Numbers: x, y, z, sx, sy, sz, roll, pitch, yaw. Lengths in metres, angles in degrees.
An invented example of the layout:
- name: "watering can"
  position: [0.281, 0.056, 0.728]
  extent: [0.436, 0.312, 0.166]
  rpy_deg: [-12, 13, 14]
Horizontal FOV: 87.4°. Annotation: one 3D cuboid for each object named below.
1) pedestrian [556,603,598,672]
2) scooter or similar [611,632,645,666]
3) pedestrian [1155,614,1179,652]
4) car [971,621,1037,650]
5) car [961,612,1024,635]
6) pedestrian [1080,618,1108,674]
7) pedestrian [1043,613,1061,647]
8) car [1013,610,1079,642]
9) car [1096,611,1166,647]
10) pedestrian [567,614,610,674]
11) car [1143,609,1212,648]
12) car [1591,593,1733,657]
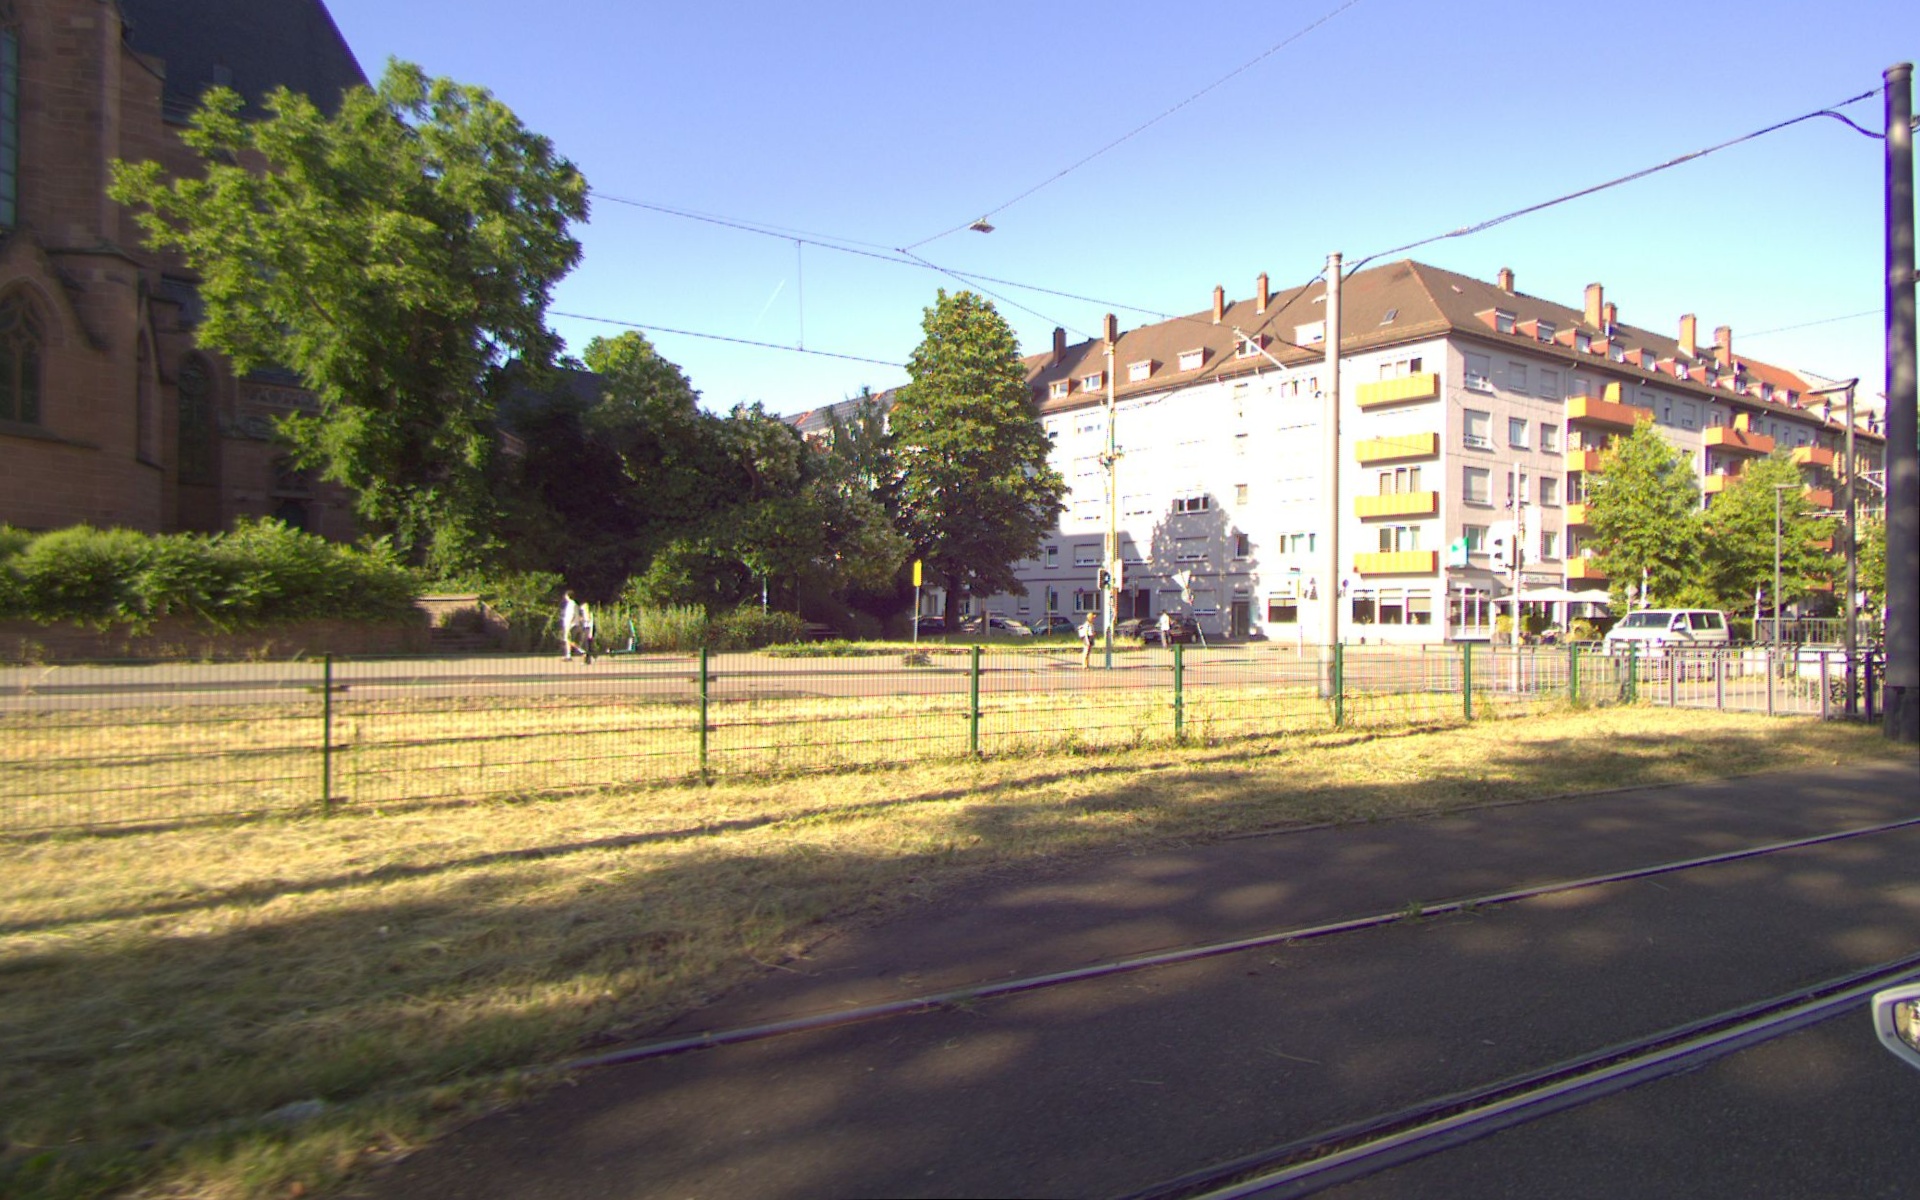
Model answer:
- name: "pedestrian"
  position: [-10.403, 1.008, 27.264]
  extent: [0.937, 1.808, 0.582]
  rpy_deg: [0, 2, -34]
- name: "scooter or similar"
  position: [-9.686, 1.425, 29.331]
  extent: [0.304, 0.948, 0.916]
  rpy_deg: [2, 2, 38]
- name: "pedestrian"
  position: [8.818, 1.410, 42.721]
  extent: [0.719, 1.577, 0.653]
  rpy_deg: [0, 2, -31]
- name: "car"
  position: [2.398, 1.920, 55.648]
  extent: [1.685, 1.439, 3.633]
  rpy_deg: [0, 0, -39]
- name: "car"
  position: [2.190, 1.543, 67.476]
  extent: [3.971, 1.439, 1.974]
  rpy_deg: [0, 2, -43]
- name: "pedestrian"
  position: [4.147, 1.408, 31.053]
  extent: [0.488, 1.696, 0.750]
  rpy_deg: [3, 2, 45]
- name: "pedestrian"
  position: [4.550, 1.475, 49.552]
  extent: [0.712, 1.676, 0.508]
  rpy_deg: [0, -2, -32]
- name: "car"
  position: [5.431, 1.620, 63.355]
  extent: [3.971, 1.885, 1.974]
  rpy_deg: [0, 2, -43]
- name: "car"
  position: [9.977, 1.658, 58.467]
  extent: [3.971, 1.885, 1.974]
  rpy_deg: [0, 2, -43]
- name: "pedestrian"
  position: [-9.810, 1.145, 26.513]
  extent: [0.937, 1.509, 0.582]
  rpy_deg: [0, 2, -34]
- name: "car"
  position: [12.136, 1.540, 55.837]
  extent: [3.953, 2.041, 1.801]
  rpy_deg: [0, 2, -43]
- name: "car"
  position: [24.026, 0.896, 34.350]
  extent: [4.951, 2.040, 1.985]
  rpy_deg: [1, -3, -29]
